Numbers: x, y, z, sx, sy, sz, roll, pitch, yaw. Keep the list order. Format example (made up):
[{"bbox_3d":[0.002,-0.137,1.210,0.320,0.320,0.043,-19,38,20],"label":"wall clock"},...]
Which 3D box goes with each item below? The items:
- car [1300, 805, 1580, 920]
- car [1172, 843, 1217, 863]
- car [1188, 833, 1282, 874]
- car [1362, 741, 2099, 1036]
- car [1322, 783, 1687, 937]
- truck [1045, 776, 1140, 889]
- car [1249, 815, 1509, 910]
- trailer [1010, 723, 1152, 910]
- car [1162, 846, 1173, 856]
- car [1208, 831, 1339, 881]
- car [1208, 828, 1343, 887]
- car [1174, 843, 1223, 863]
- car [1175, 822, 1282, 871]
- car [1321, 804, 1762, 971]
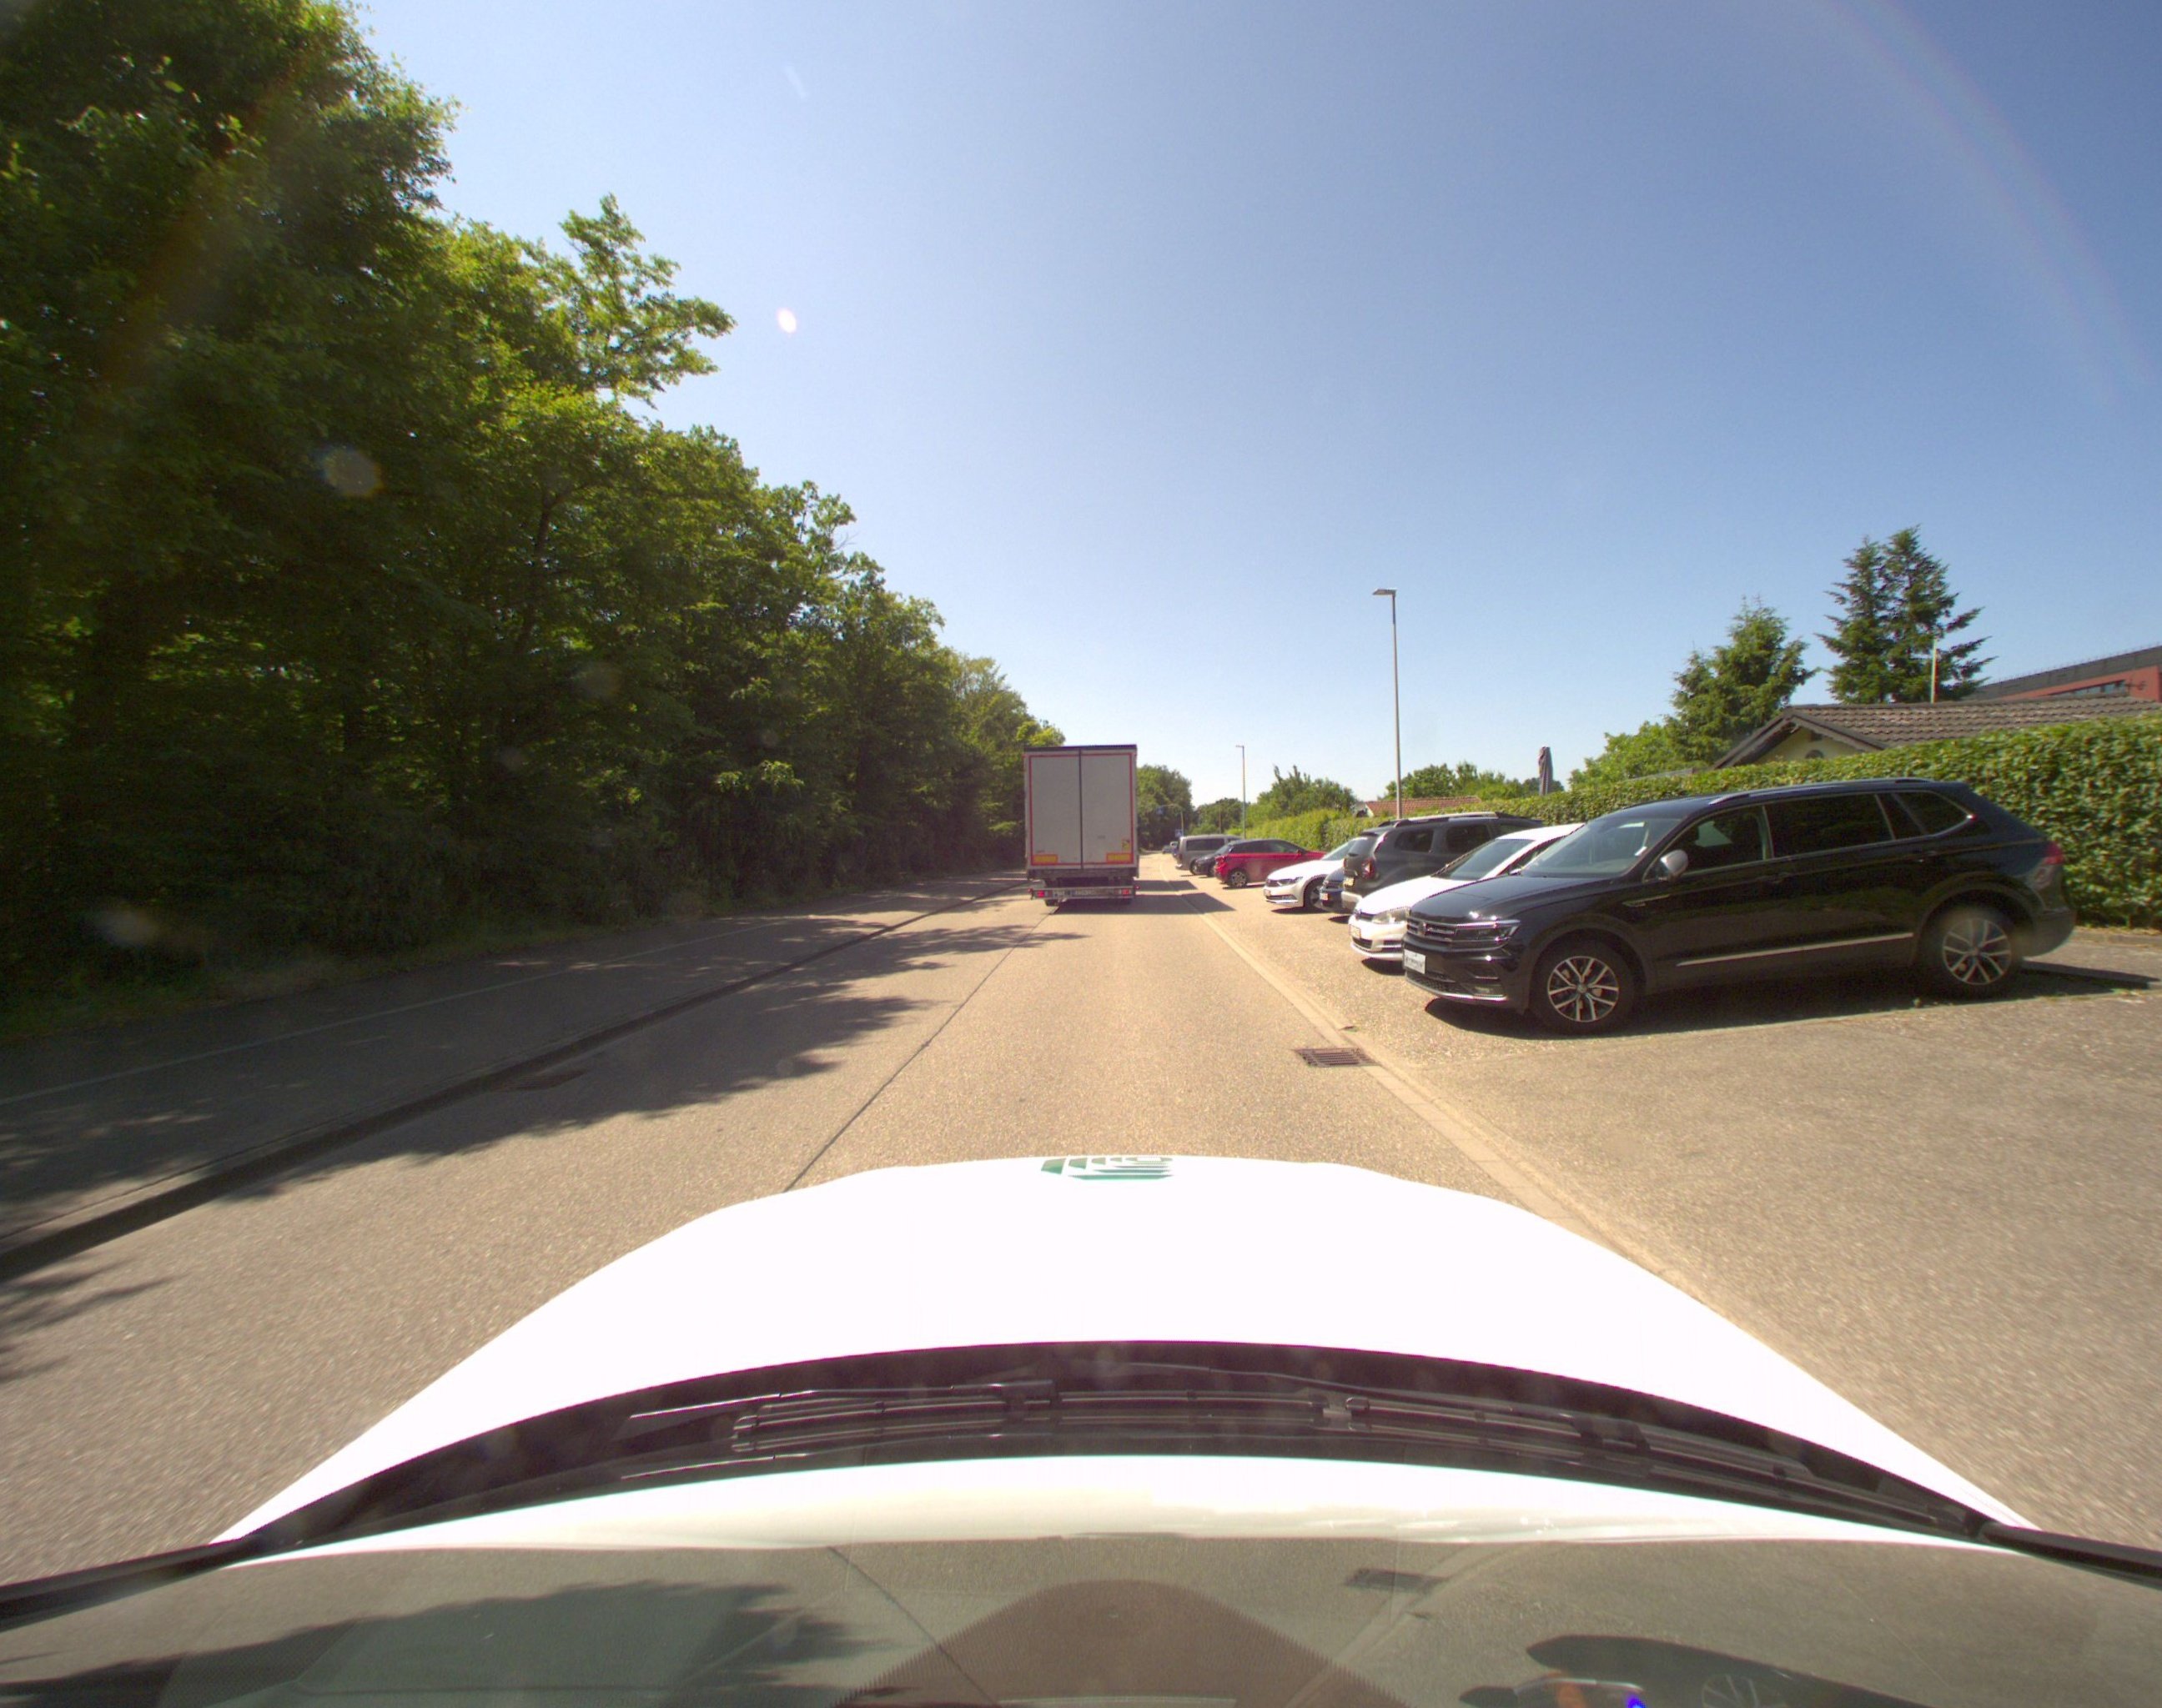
[{"bbox_3d":[6.117,0.132,14.233,4.035,1.548,1.758,-5,0,0],"label":"car"},{"bbox_3d":[11.157,-0.065,80.411,4.217,1.634,1.826,-4,-1,5],"label":"car"},{"bbox_3d":[6.517,-0.030,34.721,3.566,1.502,1.841,-4,0,-2],"label":"car"},{"bbox_3d":[4.914,0.237,6.710,4.455,1.704,1.914,-5,0,0],"label":"car"},{"bbox_3d":[5.909,0.075,11.818,4.239,1.698,1.856,-5,0,4],"label":"car"},{"bbox_3d":[0.548,-0.757,30.366,3.101,3.725,6.419,-1,1,3],"label":"truck"},{"bbox_3d":[5.969,0.162,16.702,4.544,1.439,1.961,-5,0,-1],"label":"car"},{"bbox_3d":[0.225,-0.904,23.929,3.100,4.102,11.543,-1,1,2],"label":"trailer"},{"bbox_3d":[13.950,-0.518,131.608,1.772,1.486,4.006,-1,0,5],"label":"car"},{"bbox_3d":[6.778,0.055,28.997,4.186,1.388,1.842,-5,0,2],"label":"car"},{"bbox_3d":[6.173,0.099,26.224,3.902,1.478,1.847,-5,0,3],"label":"car"},{"bbox_3d":[10.244,-0.068,71.364,4.143,1.495,1.886,-4,-1,5],"label":"car"},{"bbox_3d":[6.807,-0.348,37.896,4.600,1.848,1.998,-5,0,4],"label":"car"},{"bbox_3d":[5.025,0.350,9.404,3.978,1.452,1.834,-4,0,5],"label":"car"}]
